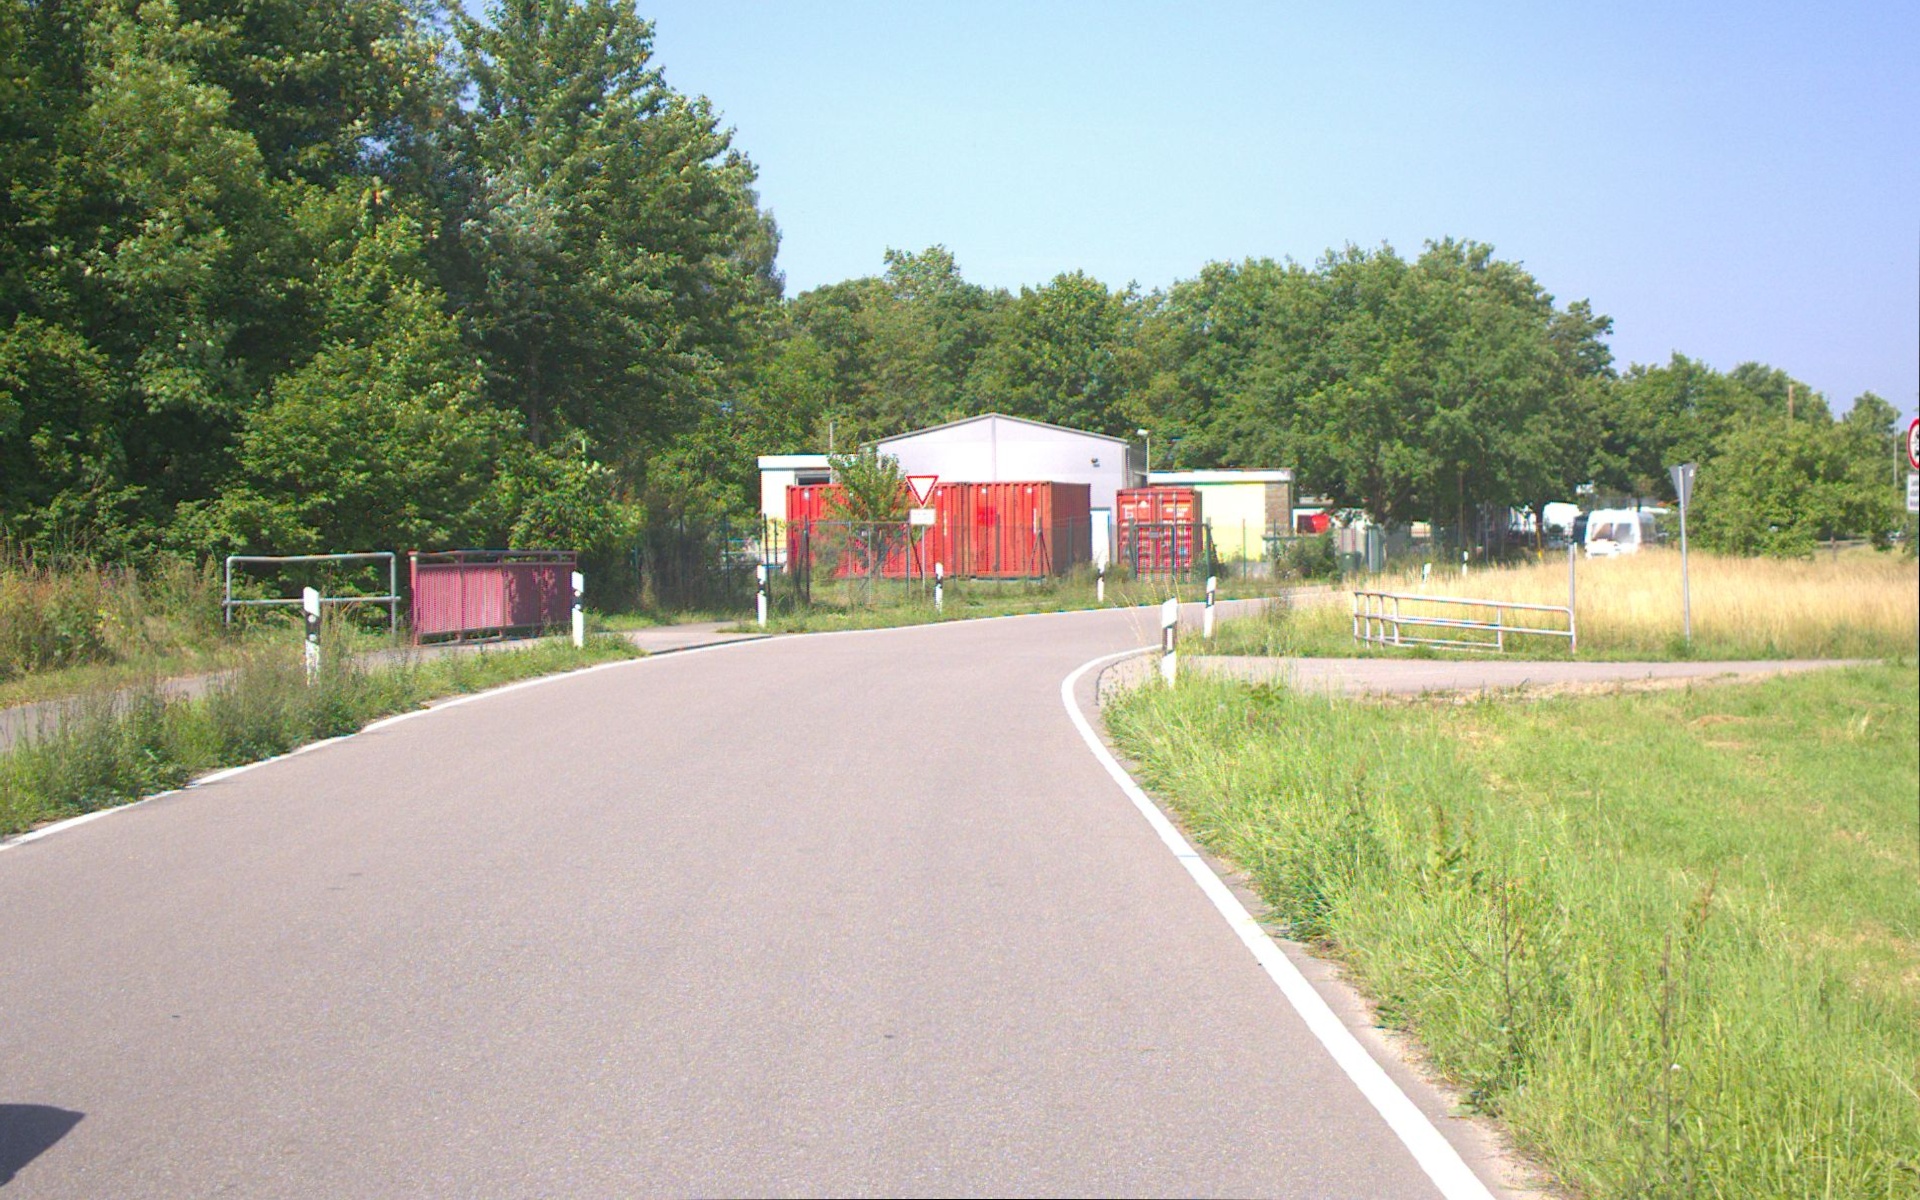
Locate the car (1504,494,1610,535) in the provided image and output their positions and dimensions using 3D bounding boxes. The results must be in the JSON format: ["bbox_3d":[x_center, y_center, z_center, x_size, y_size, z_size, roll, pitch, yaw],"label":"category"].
[{"bbox_3d":[33.670,-4.819,193.875,5.593,2.258,2.001,-1,1,-19],"label":"car"}]

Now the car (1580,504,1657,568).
[{"bbox_3d":[23.711,-2.306,123.742,1.995,2.258,4.721,0,1,20],"label":"car"}]
